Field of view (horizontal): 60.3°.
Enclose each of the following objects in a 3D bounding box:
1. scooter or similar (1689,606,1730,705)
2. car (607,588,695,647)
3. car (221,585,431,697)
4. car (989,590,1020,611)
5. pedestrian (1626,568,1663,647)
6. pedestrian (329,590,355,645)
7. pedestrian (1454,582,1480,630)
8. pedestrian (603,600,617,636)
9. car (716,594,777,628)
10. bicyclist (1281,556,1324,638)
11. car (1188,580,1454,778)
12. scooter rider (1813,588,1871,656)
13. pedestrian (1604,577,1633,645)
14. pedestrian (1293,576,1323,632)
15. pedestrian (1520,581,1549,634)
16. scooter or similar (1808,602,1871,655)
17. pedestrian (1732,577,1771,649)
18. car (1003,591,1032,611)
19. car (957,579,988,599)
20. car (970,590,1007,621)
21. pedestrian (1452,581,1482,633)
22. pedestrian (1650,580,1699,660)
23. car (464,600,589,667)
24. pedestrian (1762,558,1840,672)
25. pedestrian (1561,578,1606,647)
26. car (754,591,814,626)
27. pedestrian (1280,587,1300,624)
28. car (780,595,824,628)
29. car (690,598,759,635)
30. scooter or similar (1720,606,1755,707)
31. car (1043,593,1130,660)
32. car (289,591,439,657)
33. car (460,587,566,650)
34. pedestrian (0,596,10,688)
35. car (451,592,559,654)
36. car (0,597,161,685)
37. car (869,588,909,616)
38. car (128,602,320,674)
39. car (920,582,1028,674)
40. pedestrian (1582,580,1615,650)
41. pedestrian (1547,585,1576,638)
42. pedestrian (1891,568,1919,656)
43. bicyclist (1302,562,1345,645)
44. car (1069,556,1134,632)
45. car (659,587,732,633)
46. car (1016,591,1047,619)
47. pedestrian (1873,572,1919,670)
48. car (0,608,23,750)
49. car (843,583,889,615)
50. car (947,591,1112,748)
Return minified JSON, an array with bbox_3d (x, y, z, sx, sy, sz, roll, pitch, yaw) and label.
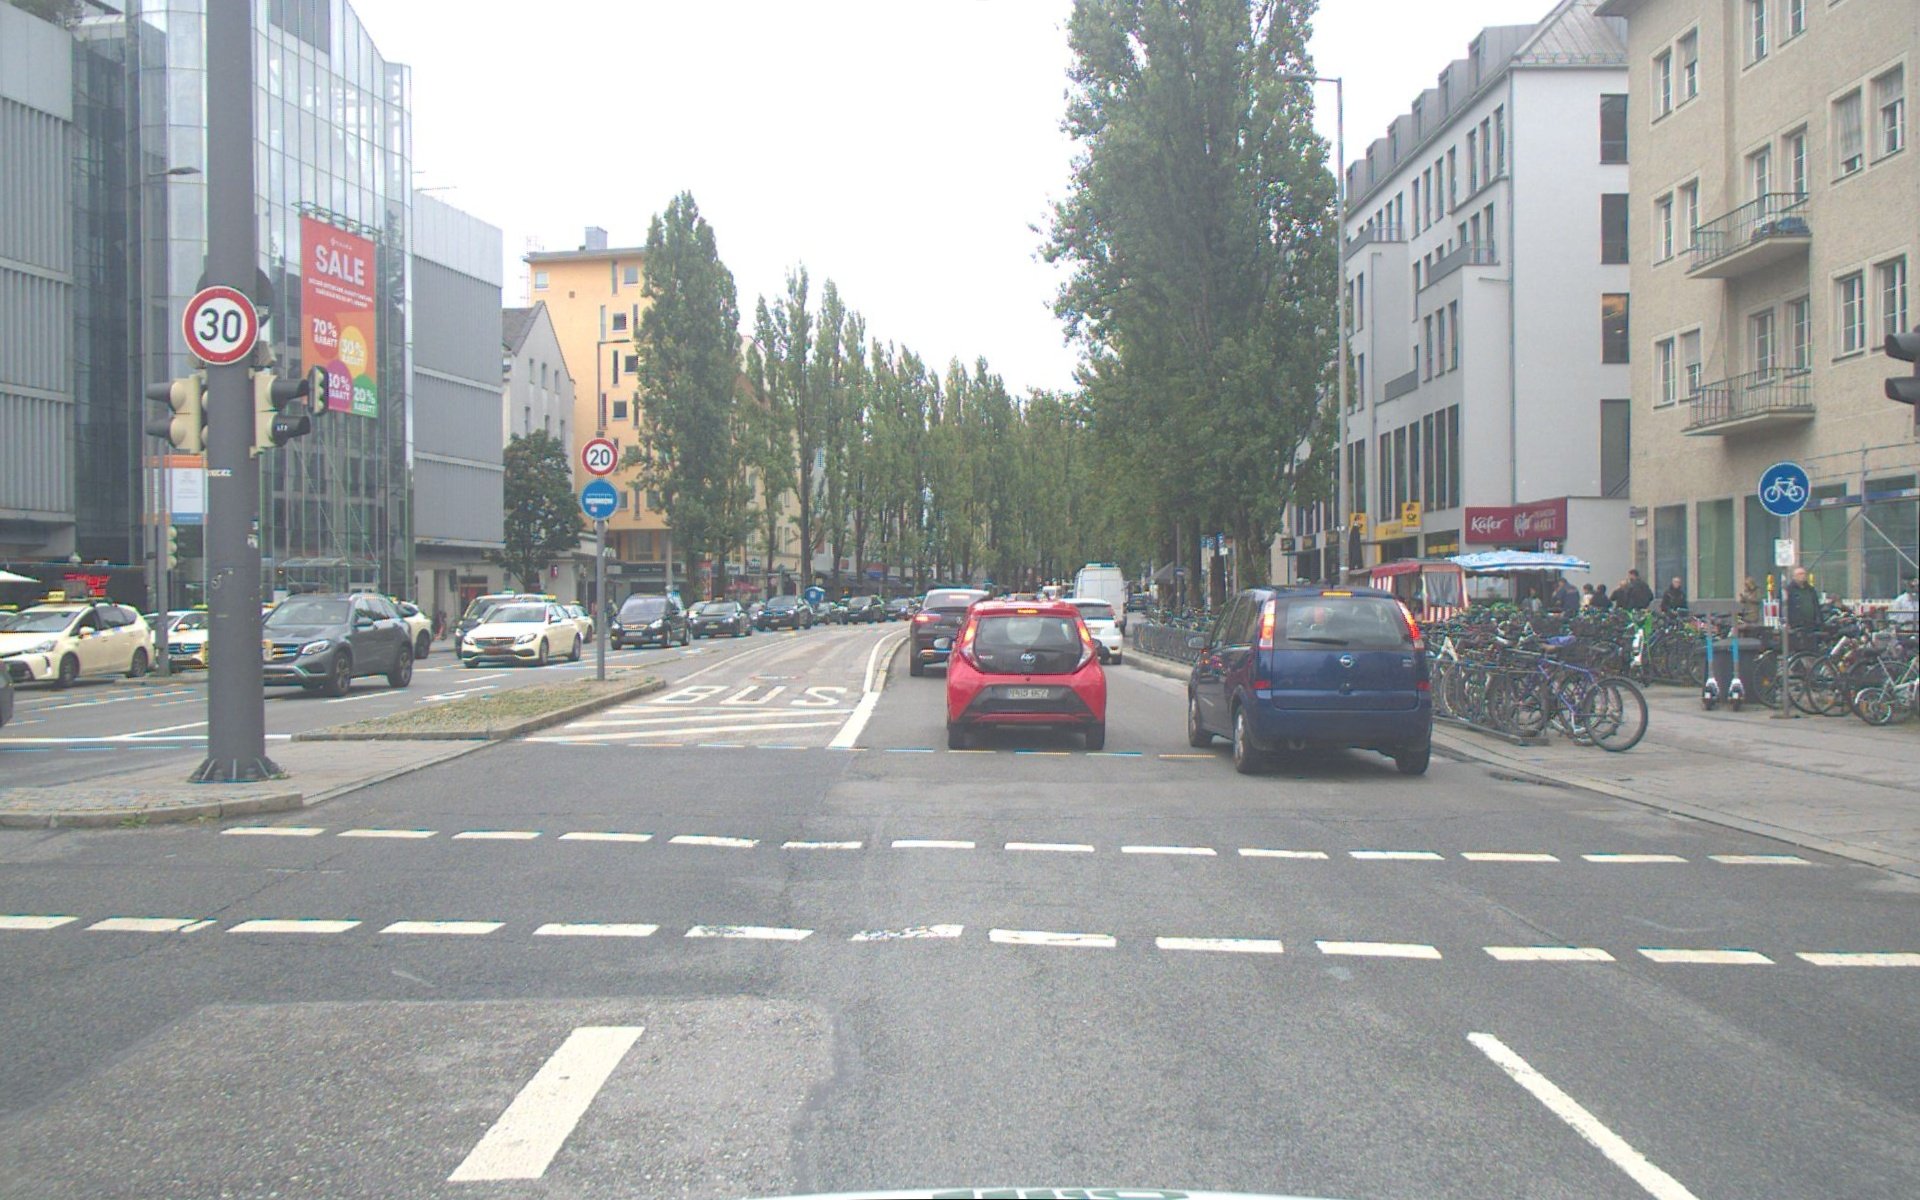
[{"bbox_3d":[9.468,0.682,20.877,0.357,1.196,1.345,-1,0,29],"label":"scooter or similar"},{"bbox_3d":[-9.776,0.514,52.583,1.897,1.769,4.588,-1,0,0],"label":"car"},{"bbox_3d":[-10.586,0.613,27.992,1.707,1.699,4.732,-1,0,0],"label":"car"},{"bbox_3d":[3.858,0.057,142.609,1.951,1.721,4.418,-1,0,12],"label":"car"},{"bbox_3d":[14.992,0.155,36.218,0.590,1.699,0.683,-1,0,34],"label":"pedestrian"},{"bbox_3d":[-20.859,0.584,55.837,0.545,1.849,0.628,-1,0,10],"label":"pedestrian"},{"bbox_3d":[15.288,0.177,49.890,0.586,1.427,0.580,-1,0,-1],"label":"pedestrian"},{"bbox_3d":[-20.180,1.030,95.494,0.674,2.032,0.765,-1,0,-4],"label":"pedestrian"},{"bbox_3d":[-10.839,0.550,84.228,1.951,1.637,4.537,-1,0,8],"label":"car"},{"bbox_3d":[8.044,-0.075,38.878,0.747,1.902,1.133,-1,0,0],"label":"bicyclist"},{"bbox_3d":[3.222,0.645,15.407,1.668,1.617,3.556,0,0,-1],"label":"car"},{"bbox_3d":[16.569,0.402,31.079,0.671,1.241,0.719,-2,0,-2],"label":"scooter rider"},{"bbox_3d":[14.818,0.241,37.201,0.497,1.510,0.463,-1,0,35],"label":"pedestrian"},{"bbox_3d":[11.099,0.123,52.805,0.774,1.758,0.763,-1,0,-1],"label":"pedestrian"},{"bbox_3d":[15.673,0.200,45.123,0.586,1.427,0.580,-1,0,-1],"label":"pedestrian"},{"bbox_3d":[16.534,0.531,31.108,0.524,0.960,1.124,-2,0,-2],"label":"scooter or similar"},{"bbox_3d":[18.505,0.303,38.685,0.628,1.673,0.562,-1,0,-1],"label":"pedestrian"},{"bbox_3d":[5.296,0.088,151.611,1.951,1.721,4.418,-1,0,12],"label":"car"},{"bbox_3d":[1.173,-1.016,151.165,1.951,1.721,4.418,-1,0,12],"label":"car"},{"bbox_3d":[1.405,0.263,81.284,1.736,1.464,3.939,-1,0,2],"label":"car"},{"bbox_3d":[16.299,0.222,53.185,0.717,1.630,0.742,-1,0,-1],"label":"pedestrian"},{"bbox_3d":[16.016,0.443,37.084,0.727,1.758,0.758,-2,0,-1],"label":"pedestrian"},{"bbox_3d":[-10.236,0.757,39.375,1.729,1.446,4.639,-1,0,0],"label":"car"},{"bbox_3d":[13.385,0.235,26.342,0.796,1.758,0.758,-2,0,-1],"label":"pedestrian"},{"bbox_3d":[14.330,0.286,38.011,0.794,1.548,0.798,-1,0,32],"label":"pedestrian"},{"bbox_3d":[-8.158,0.369,76.965,1.951,1.561,4.590,-1,0,4],"label":"car"},{"bbox_3d":[14.061,0.225,70.395,0.698,1.585,0.676,-1,0,-1],"label":"pedestrian"},{"bbox_3d":[-9.347,0.652,98.036,1.817,1.847,4.002,1,0,5],"label":"car"},{"bbox_3d":[-9.310,0.632,65.681,1.806,1.406,4.603,-1,0,4],"label":"car"},{"bbox_3d":[9.651,0.687,20.522,0.294,1.196,1.275,-1,0,29],"label":"scooter or similar"},{"bbox_3d":[2.868,0.582,38.125,1.665,1.451,3.496,-1,0,-1],"label":"car"},{"bbox_3d":[-16.264,0.622,45.356,1.951,1.708,4.187,0,0,12],"label":"car"},{"bbox_3d":[-15.743,0.610,58.583,1.952,2.049,5.526,-1,1,3],"label":"car"},{"bbox_3d":[-18.325,0.791,30.841,0.754,1.720,0.752,-1,0,4],"label":"pedestrian"},{"bbox_3d":[-12.880,0.609,47.031,1.801,1.642,4.258,-1,0,1],"label":"car"},{"bbox_3d":[-17.717,0.754,32.512,1.862,1.570,4.392,-1,0,0],"label":"car"},{"bbox_3d":[-4.643,0.149,108.793,1.951,1.721,4.924,-1,-1,6],"label":"car"},{"bbox_3d":[-17.269,0.851,39.094,1.951,1.534,4.638,-1,0,8],"label":"car"},{"bbox_3d":[0.223,0.499,32.203,1.953,1.646,3.999,-1,0,-1],"label":"car"},{"bbox_3d":[14.190,0.333,36.761,0.568,1.531,0.615,-1,0,31],"label":"pedestrian"},{"bbox_3d":[16.407,0.305,45.109,0.563,1.427,0.580,-1,0,-1],"label":"pedestrian"},{"bbox_3d":[17.657,0.214,30.408,0.635,1.596,0.787,-1,0,0],"label":"pedestrian"},{"bbox_3d":[7.500,0.069,34.166,0.601,1.686,1.251,-1,0,0],"label":"bicyclist"},{"bbox_3d":[5.369,-0.216,63.207,2.063,2.766,4.804,-1,0,0],"label":"car"},{"bbox_3d":[-12.481,0.442,78.226,1.951,1.847,4.538,-4,1,9],"label":"car"},{"bbox_3d":[4.937,0.331,114.319,1.951,1.870,4.002,-1,0,5],"label":"car"},{"bbox_3d":[15.414,0.325,26.816,0.762,1.544,0.758,-2,0,-2],"label":"pedestrian"},{"bbox_3d":[-10.629,0.837,15.045,1.954,1.436,4.165,-1,0,-3],"label":"car"},{"bbox_3d":[-5.518,-0.074,97.535,1.952,1.721,4.924,3,0,4],"label":"car"},{"bbox_3d":[0.682,0.662,17.555,1.572,1.487,3.130,1,0,0],"label":"car"}]
